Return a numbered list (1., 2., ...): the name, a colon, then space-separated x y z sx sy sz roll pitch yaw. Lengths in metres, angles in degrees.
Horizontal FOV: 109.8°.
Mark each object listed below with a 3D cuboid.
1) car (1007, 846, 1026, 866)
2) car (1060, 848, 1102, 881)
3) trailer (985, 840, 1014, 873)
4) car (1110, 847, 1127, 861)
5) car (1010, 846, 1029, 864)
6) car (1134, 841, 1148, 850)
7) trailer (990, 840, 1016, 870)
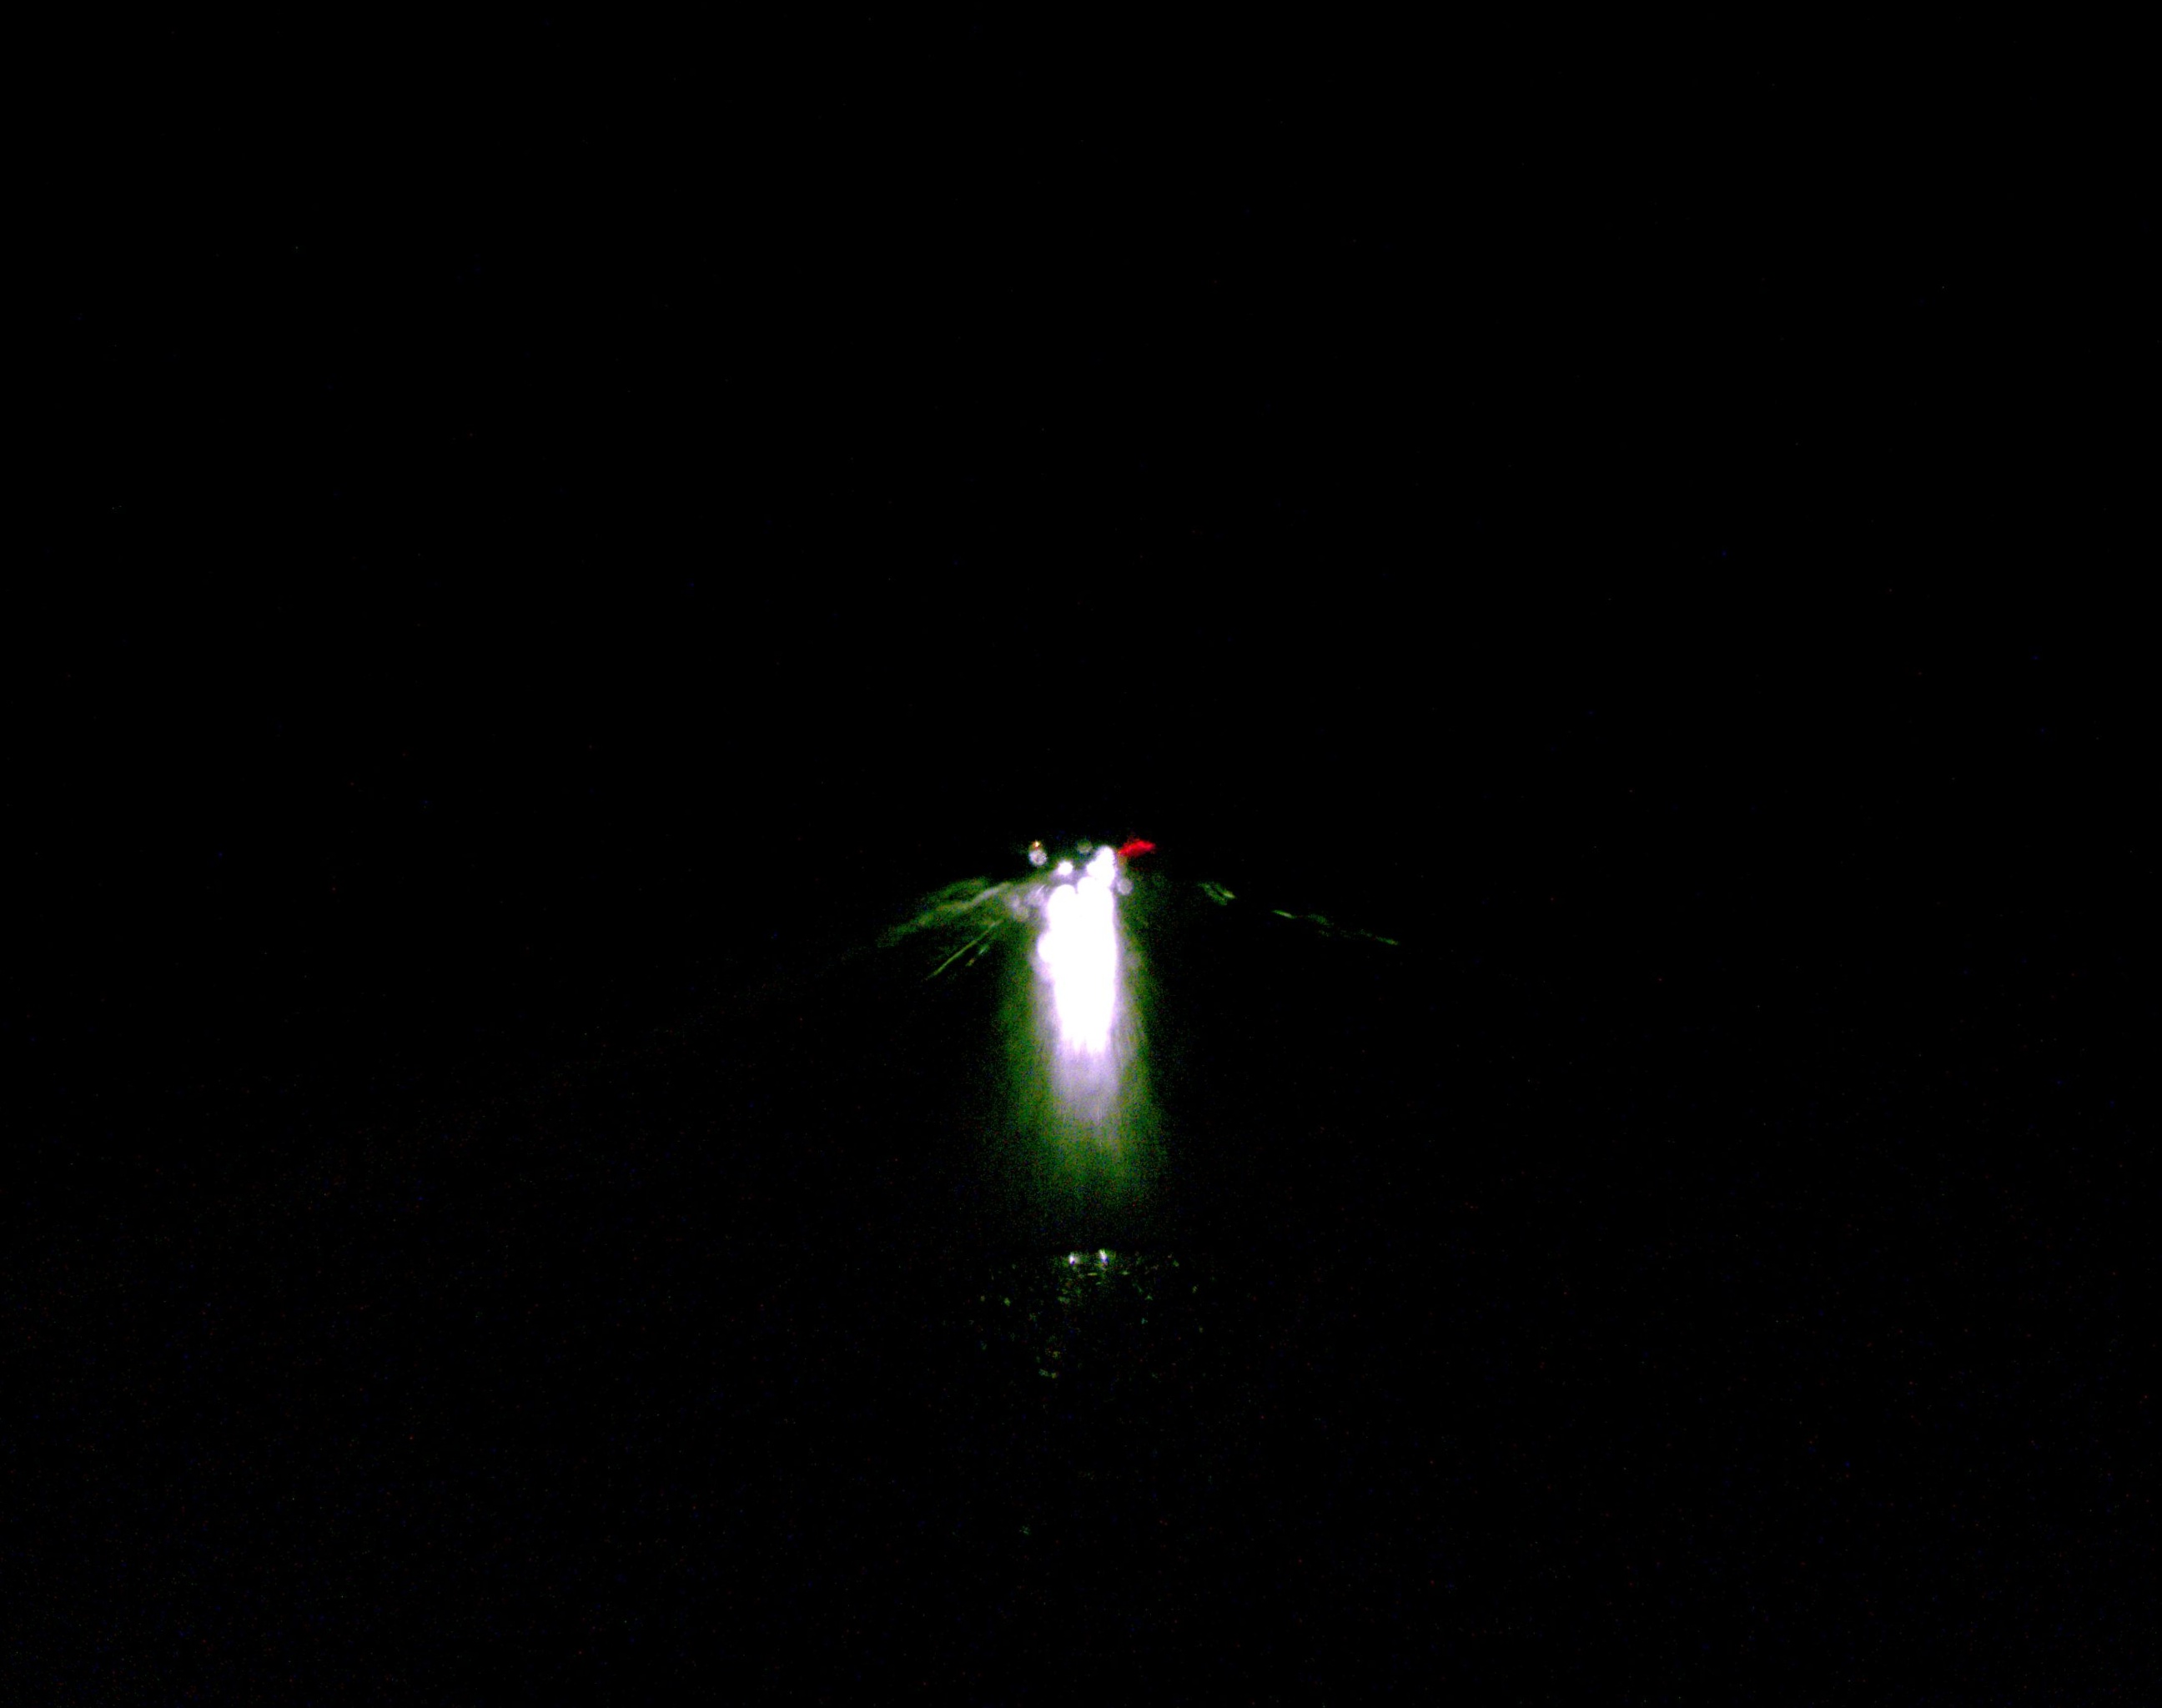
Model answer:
1. car: -7.056 0.186 82.546 1.883 2.029 4.387 -4 2 -5
2. car: 0.059 0.509 40.387 1.998 1.412 3.999 -4 2 3
3. trailer: -6.426 0.165 60.265 1.634 2.351 4.651 -6 1 -1
4. car: 4.542 -0.024 91.935 1.806 1.500 3.615 -4 1 0
5. car: -7.060 0.074 87.348 1.883 1.799 4.153 -4 2 -3
6. car: 9.801 -1.391 123.742 1.998 1.452 4.897 -2 2 2
7. trailer: -6.685 0.023 65.428 1.610 2.339 4.429 -6 1 -1
